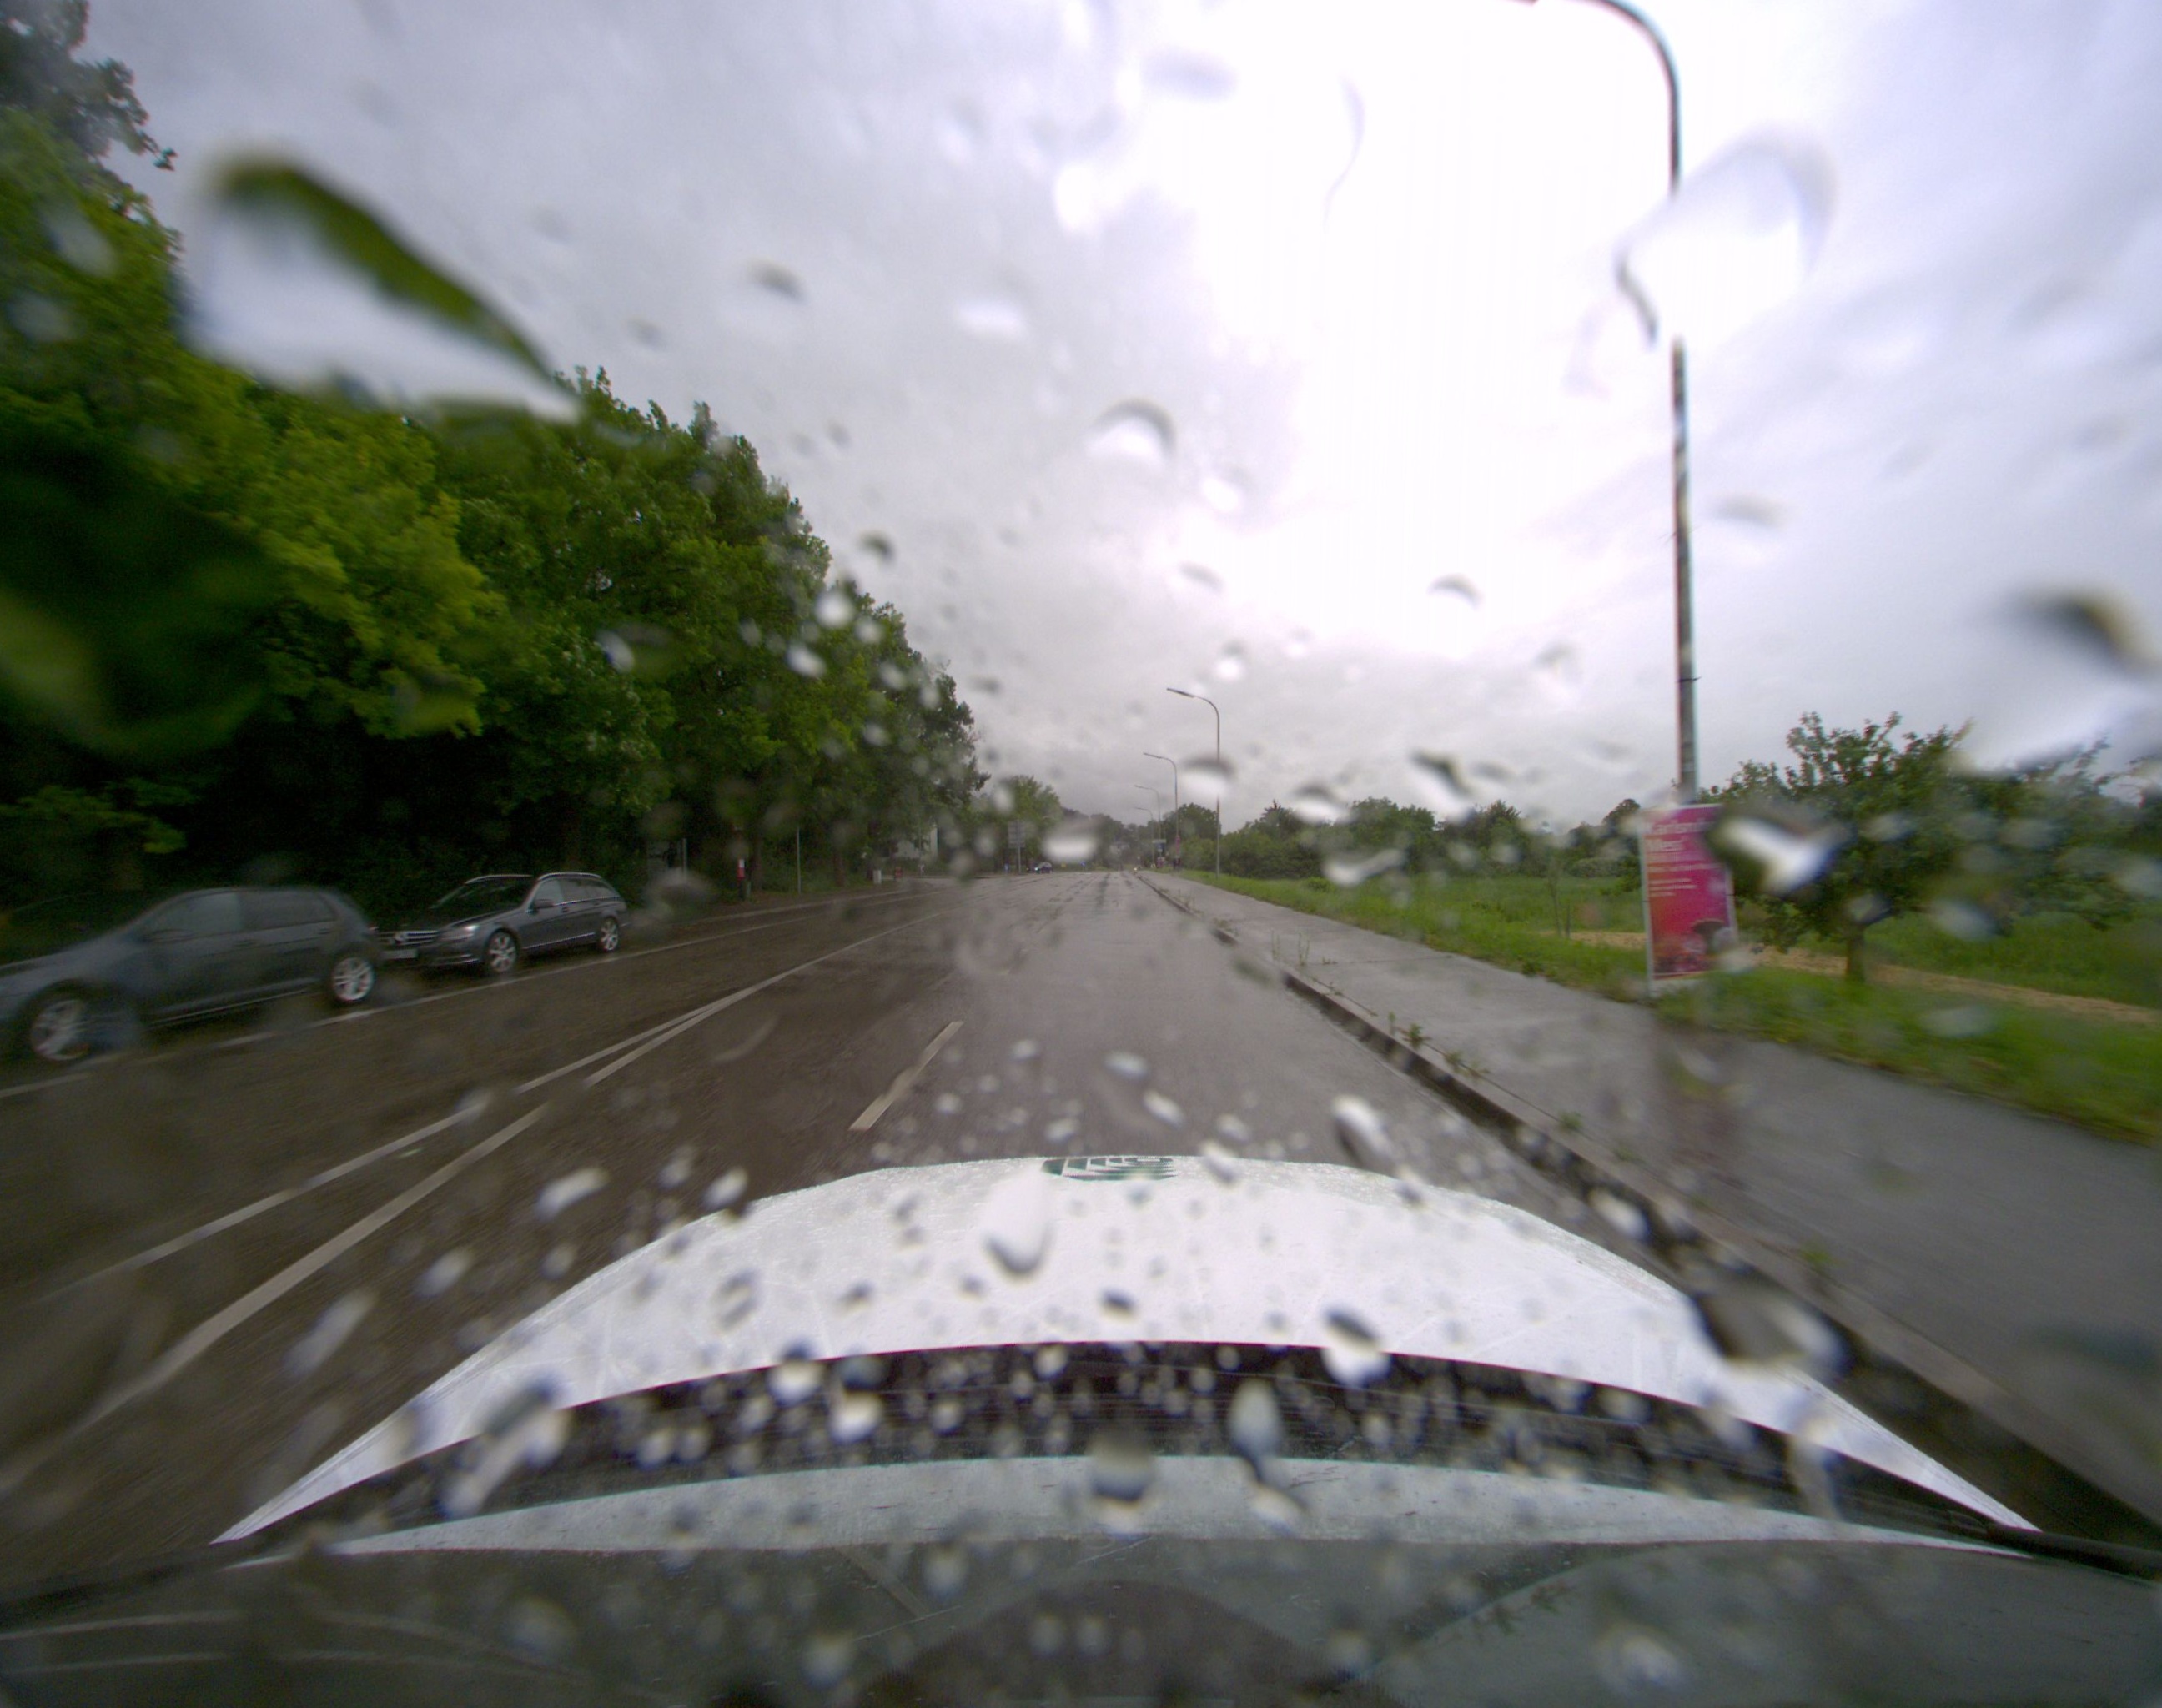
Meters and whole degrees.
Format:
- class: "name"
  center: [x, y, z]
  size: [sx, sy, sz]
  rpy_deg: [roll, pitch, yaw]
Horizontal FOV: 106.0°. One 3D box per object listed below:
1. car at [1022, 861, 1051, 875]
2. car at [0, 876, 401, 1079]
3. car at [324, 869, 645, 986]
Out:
- class: "car"
  center: [-5.830, 1.837, 106.957]
  size: [1.777, 1.762, 4.025]
  rpy_deg: [-1, -1, 35]
- class: "car"
  center: [-8.808, 0.987, 7.735]
  size: [1.430, 1.419, 4.098]
  rpy_deg: [-2, 0, -4]
- class: "car"
  center: [-9.080, 1.006, 13.040]
  size: [1.682, 1.419, 4.738]
  rpy_deg: [-2, 0, -1]
